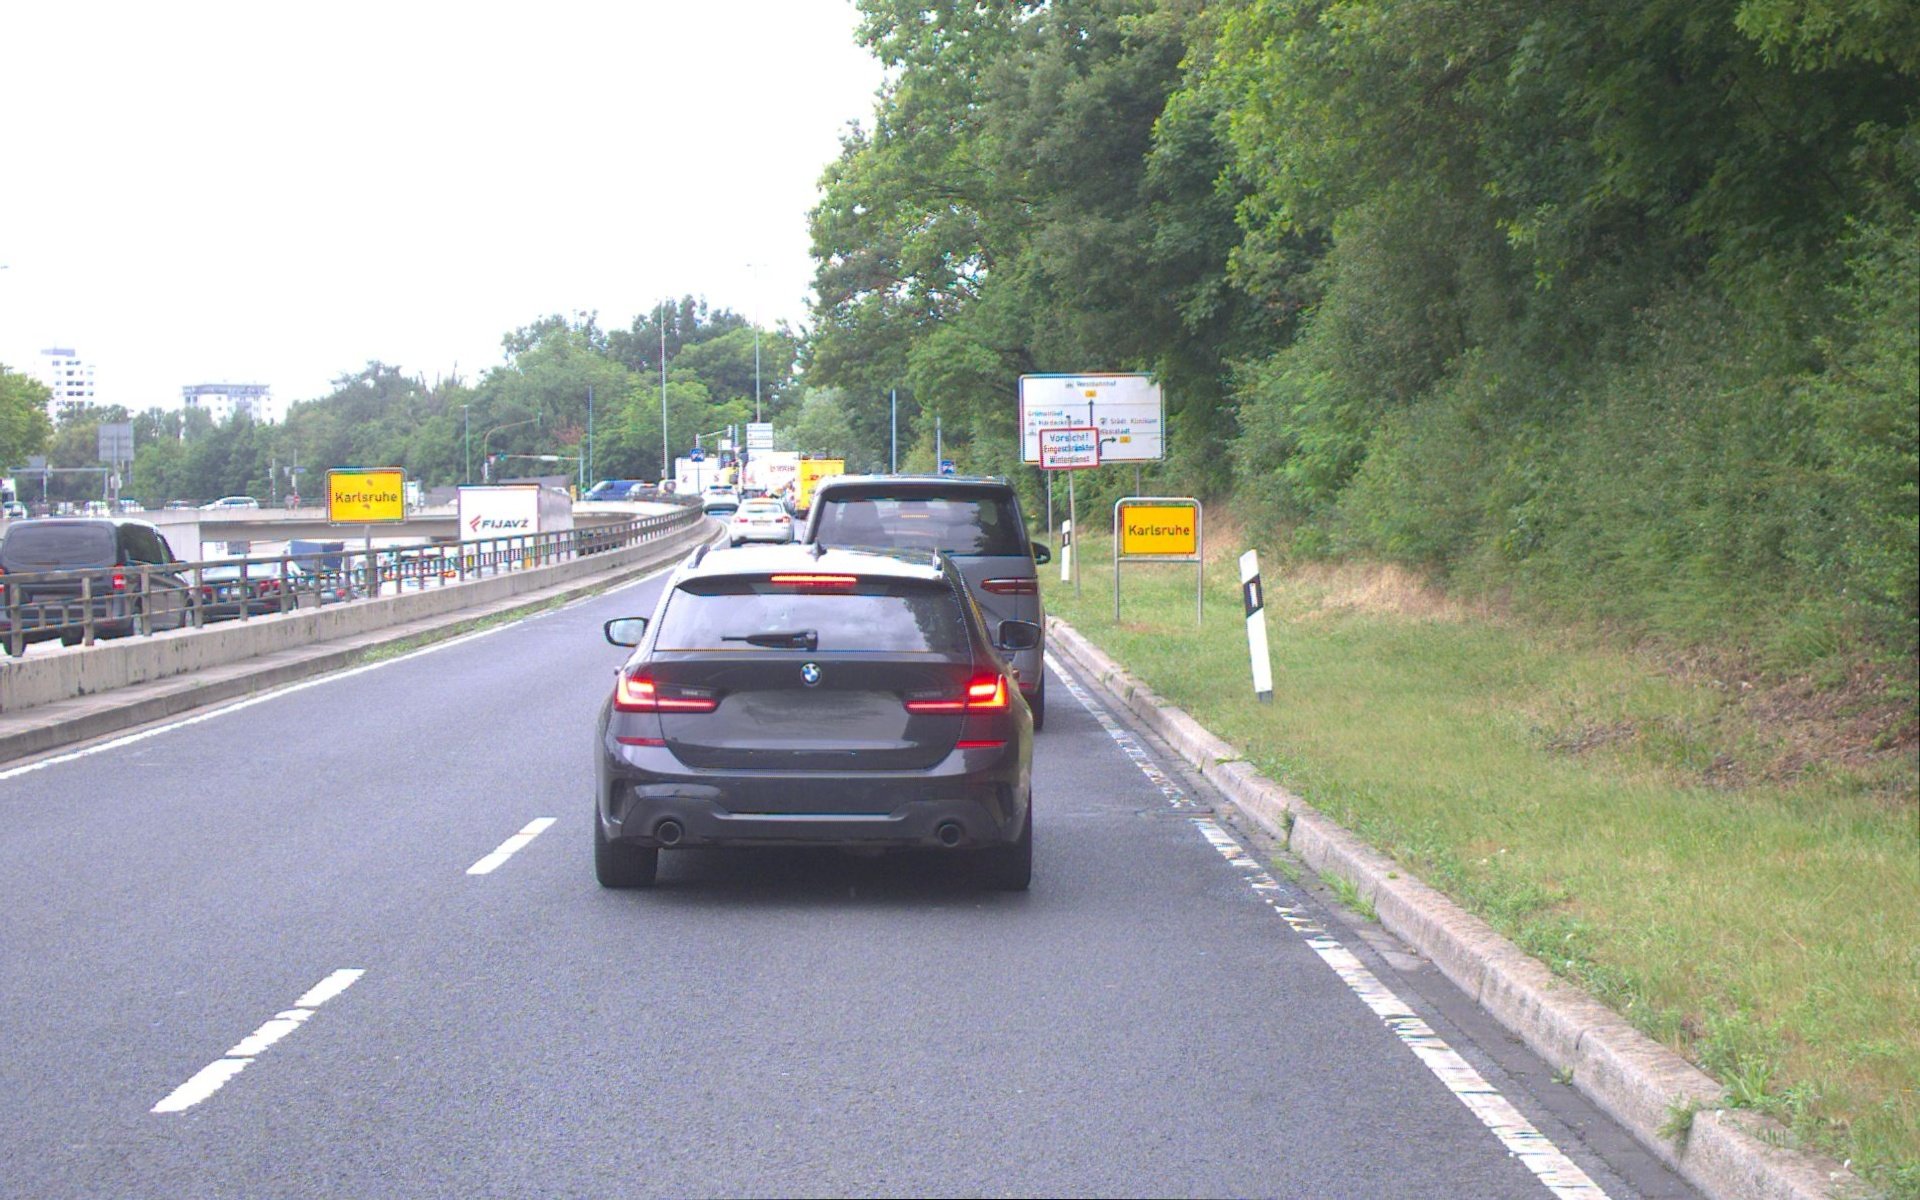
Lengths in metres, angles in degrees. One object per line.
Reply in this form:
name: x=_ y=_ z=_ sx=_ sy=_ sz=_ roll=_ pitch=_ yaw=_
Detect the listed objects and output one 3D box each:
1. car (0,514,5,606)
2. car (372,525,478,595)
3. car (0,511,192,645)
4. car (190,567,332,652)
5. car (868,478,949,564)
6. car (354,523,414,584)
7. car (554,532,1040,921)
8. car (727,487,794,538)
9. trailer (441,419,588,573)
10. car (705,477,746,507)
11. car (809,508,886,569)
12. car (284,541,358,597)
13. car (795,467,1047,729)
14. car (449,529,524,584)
car: x=-17.556 y=-0.678 z=58.375 sx=1.687 sy=1.602 sz=4.008 roll=1 pitch=1 yaw=-2
car: x=-13.307 y=-1.029 z=85.757 sx=1.946 sy=1.686 sz=4.507 roll=0 pitch=1 yaw=0
car: x=-12.535 y=-0.358 z=49.647 sx=1.993 sy=1.845 sz=4.812 roll=0 pitch=1 yaw=-2
car: x=-13.013 y=0.149 z=64.221 sx=1.712 sy=1.452 sz=4.666 roll=0 pitch=1 yaw=0
car: x=-0.945 y=-1.455 z=63.217 sx=1.452 sy=1.535 sz=3.225 roll=0 pitch=1 yaw=-1
car: x=-19.938 y=-1.628 z=119.120 sx=1.443 sy=2.037 sz=3.680 roll=0 pitch=1 yaw=0
car: x=-0.712 y=0.450 z=15.200 sx=1.846 sy=1.461 sz=4.001 roll=1 pitch=1 yaw=-3
car: x=-5.900 y=-2.581 z=102.032 sx=1.859 sy=1.459 sz=4.885 roll=0 pitch=1 yaw=-2
trailer: x=-14.511 y=-3.340 z=113.186 sx=3.132 sy=4.709 sz=14.559 roll=1 pitch=1 yaw=-1
car: x=-12.921 y=-5.954 z=189.321 sx=1.930 sy=1.590 sz=3.878 roll=-1 pitch=1 yaw=-9
car: x=-2.807 y=-1.539 z=85.830 sx=1.859 sy=1.459 sz=4.534 roll=0 pitch=1 yaw=-2
car: x=-19.598 y=-0.978 z=105.547 sx=1.687 sy=1.626 sz=3.735 roll=1 pitch=1 yaw=-2
car: x=-0.306 y=-0.059 z=26.570 sx=1.796 sy=1.865 sz=4.000 roll=0 pitch=1 yaw=-1
car: x=-13.669 y=-1.274 z=99.378 sx=1.768 sy=1.544 sz=3.493 roll=0 pitch=1 yaw=-2
